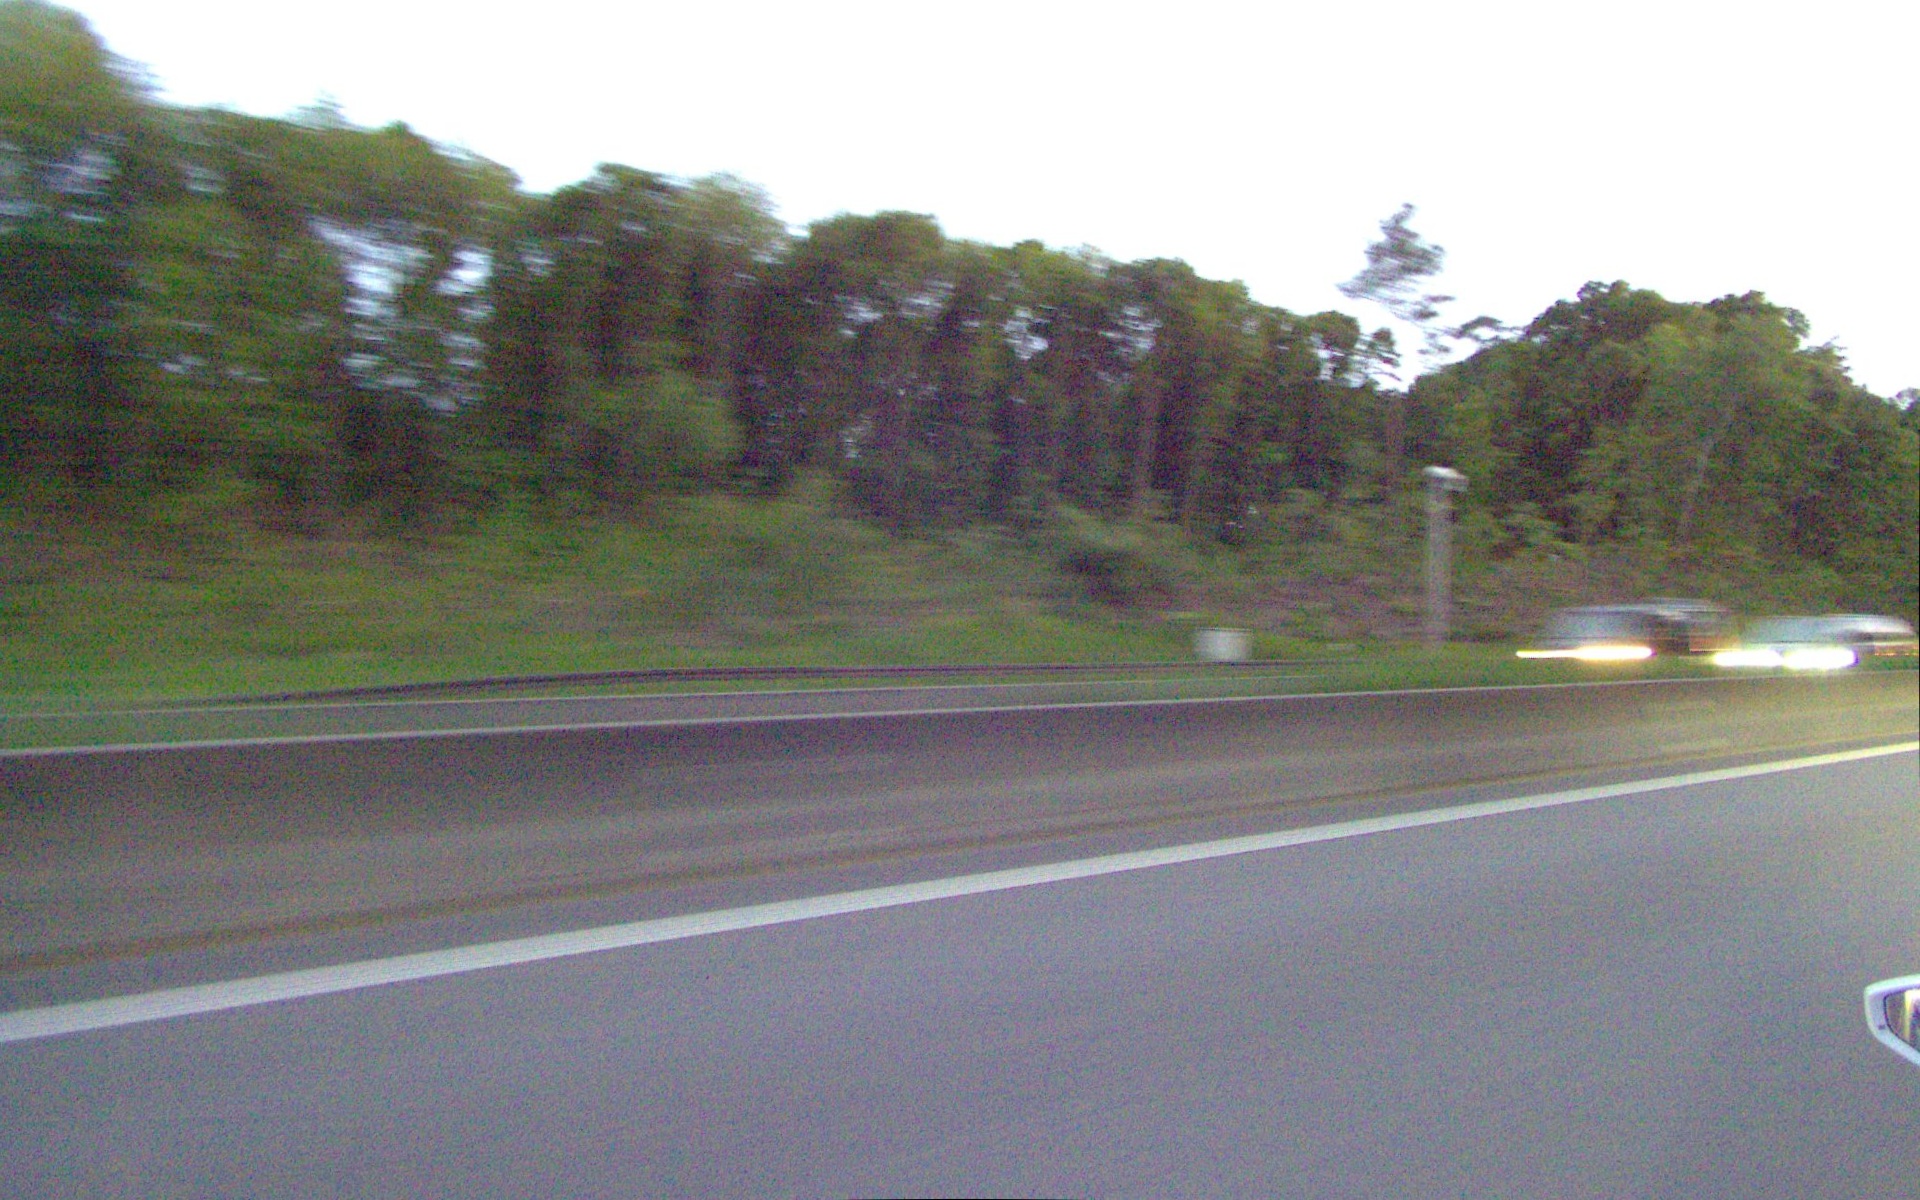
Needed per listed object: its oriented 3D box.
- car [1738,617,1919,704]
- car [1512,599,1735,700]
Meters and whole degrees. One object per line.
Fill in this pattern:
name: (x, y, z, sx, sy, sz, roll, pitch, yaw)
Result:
car: (22.401, 1.499, 25.755, 5.294, 2.040, 1.985, 1, -2, -29)
car: (18.571, 1.332, 27.946, 7.435, 2.517, 2.301, 2, -2, -32)
